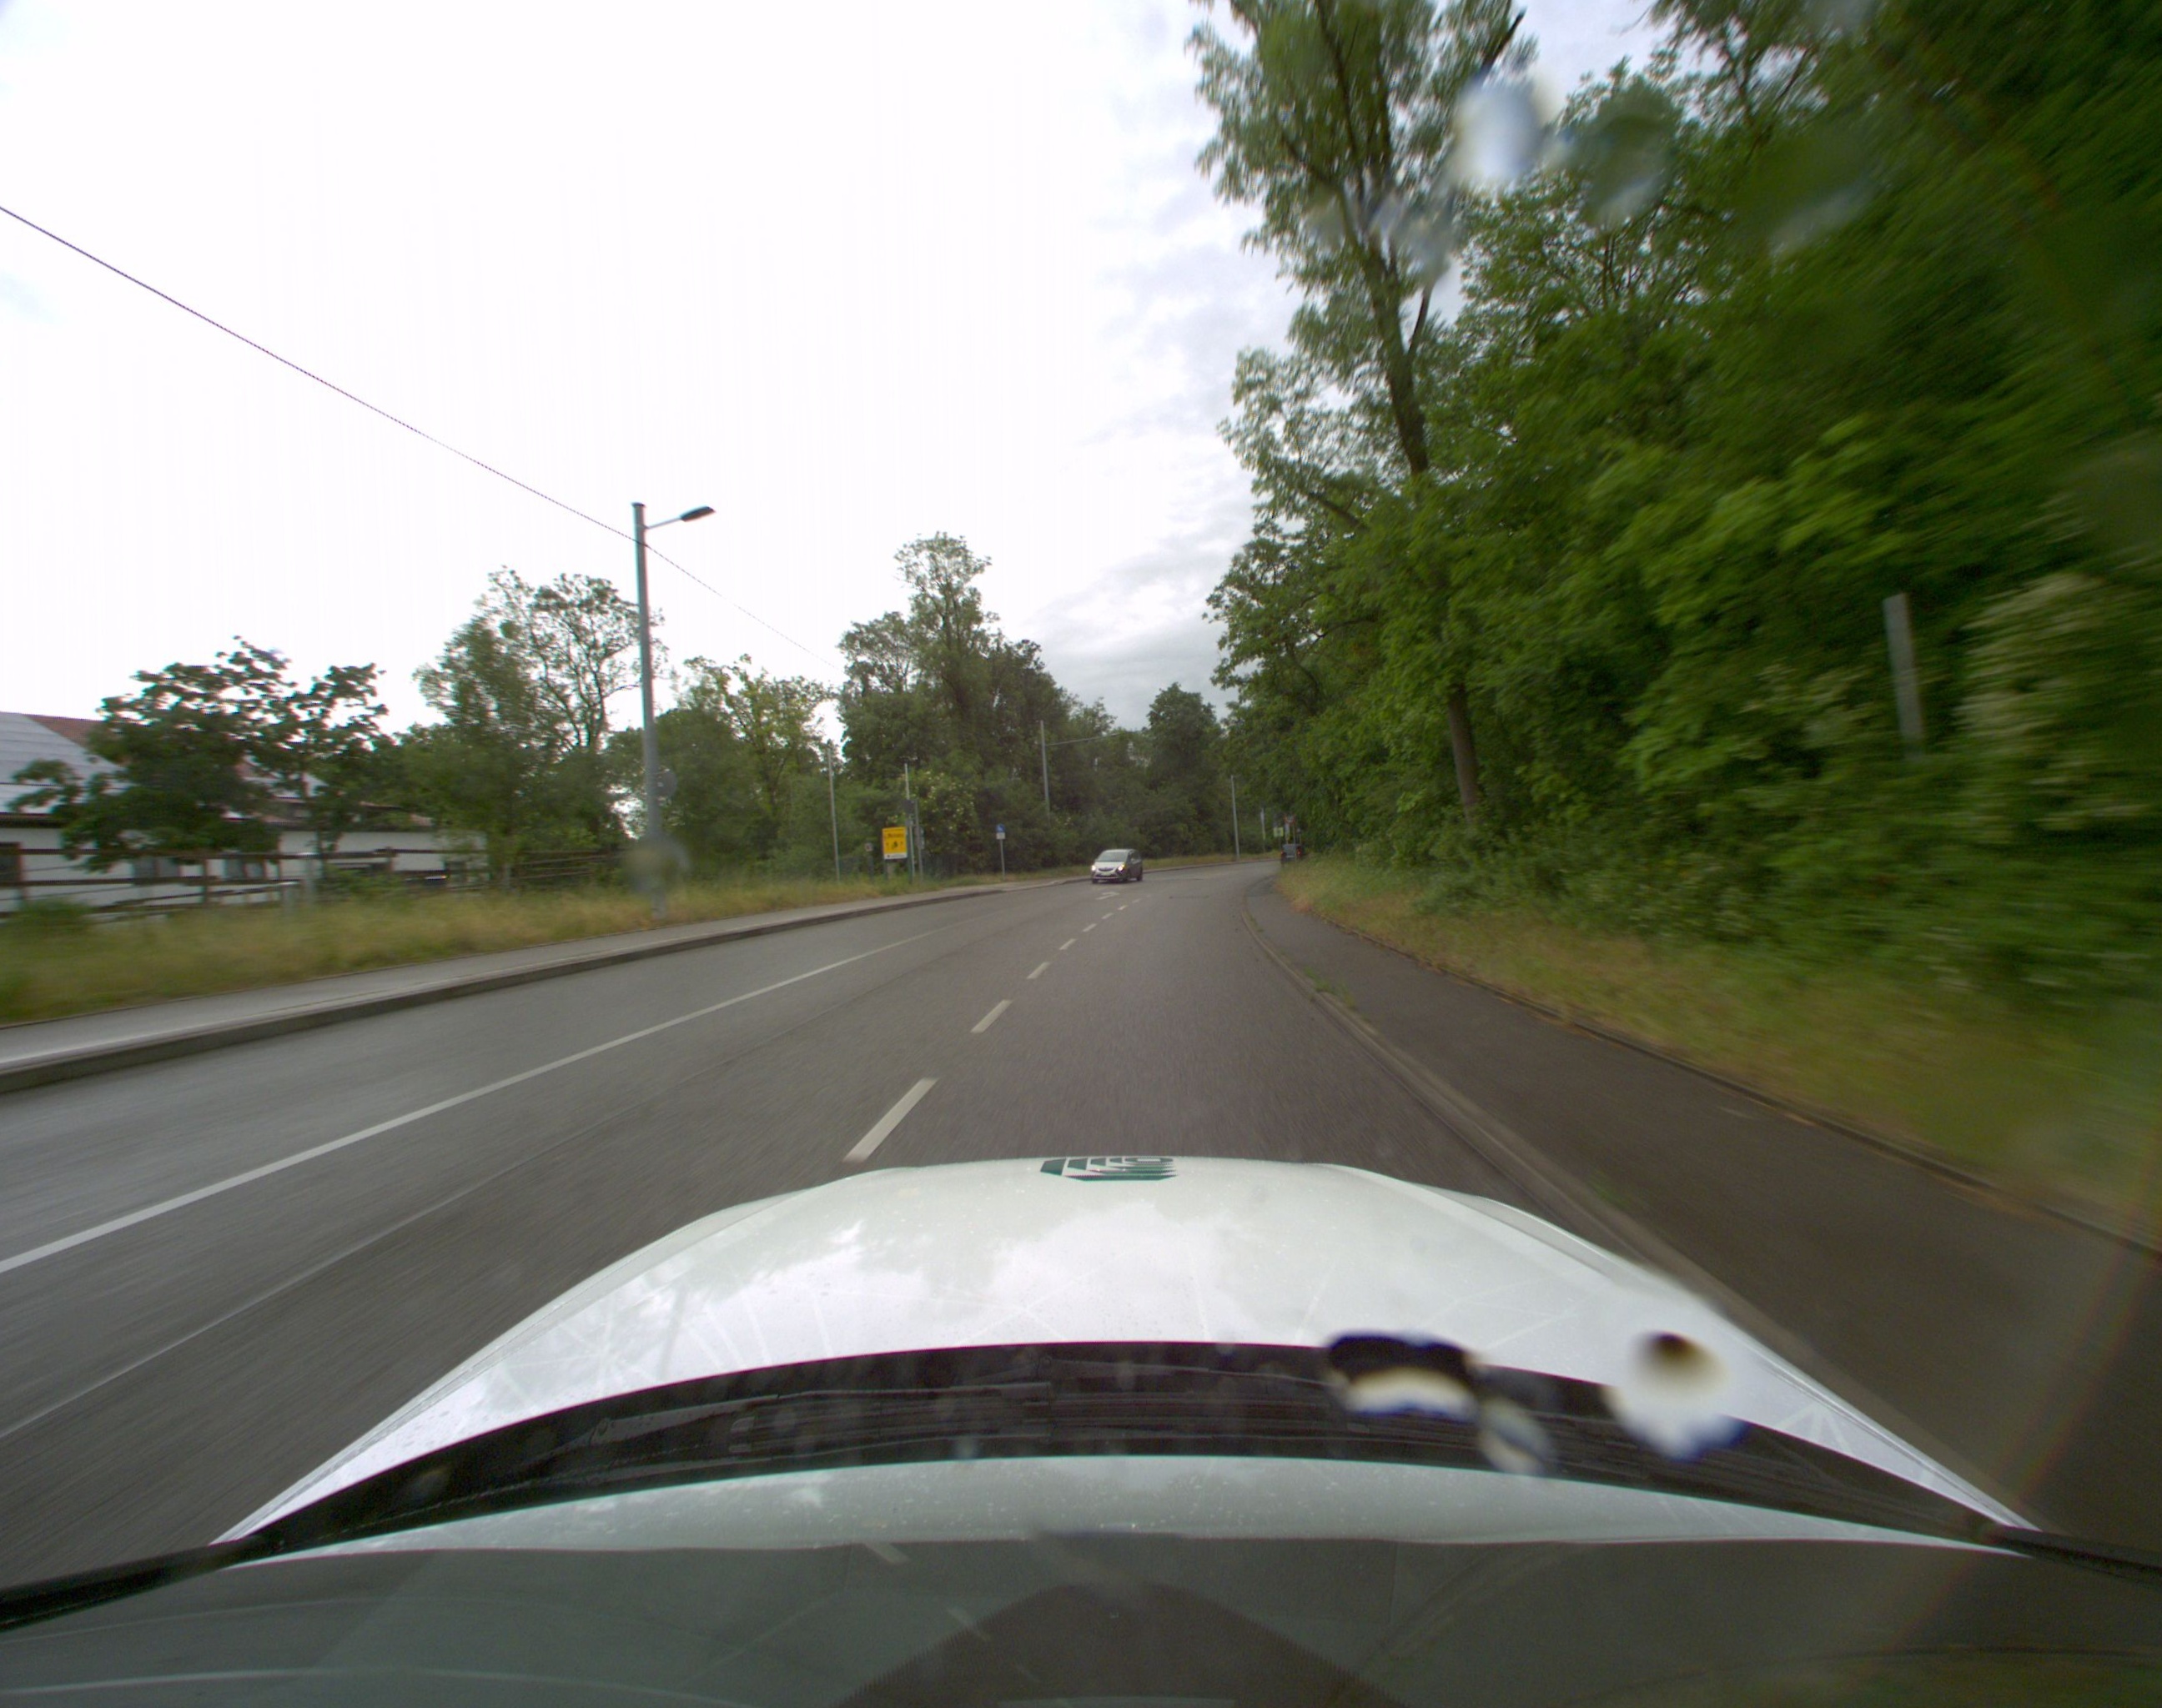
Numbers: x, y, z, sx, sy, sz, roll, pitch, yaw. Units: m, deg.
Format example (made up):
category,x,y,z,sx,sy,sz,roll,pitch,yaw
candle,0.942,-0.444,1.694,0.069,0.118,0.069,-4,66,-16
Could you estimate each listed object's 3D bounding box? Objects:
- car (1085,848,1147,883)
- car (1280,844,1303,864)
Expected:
category,x,y,z,sx,sy,sz,roll,pitch,yaw
car,1.788,0.529,40.519,1.744,1.615,4.441,0,0,21
car,16.721,-0.003,64.867,1.656,1.594,3.696,-1,0,13
